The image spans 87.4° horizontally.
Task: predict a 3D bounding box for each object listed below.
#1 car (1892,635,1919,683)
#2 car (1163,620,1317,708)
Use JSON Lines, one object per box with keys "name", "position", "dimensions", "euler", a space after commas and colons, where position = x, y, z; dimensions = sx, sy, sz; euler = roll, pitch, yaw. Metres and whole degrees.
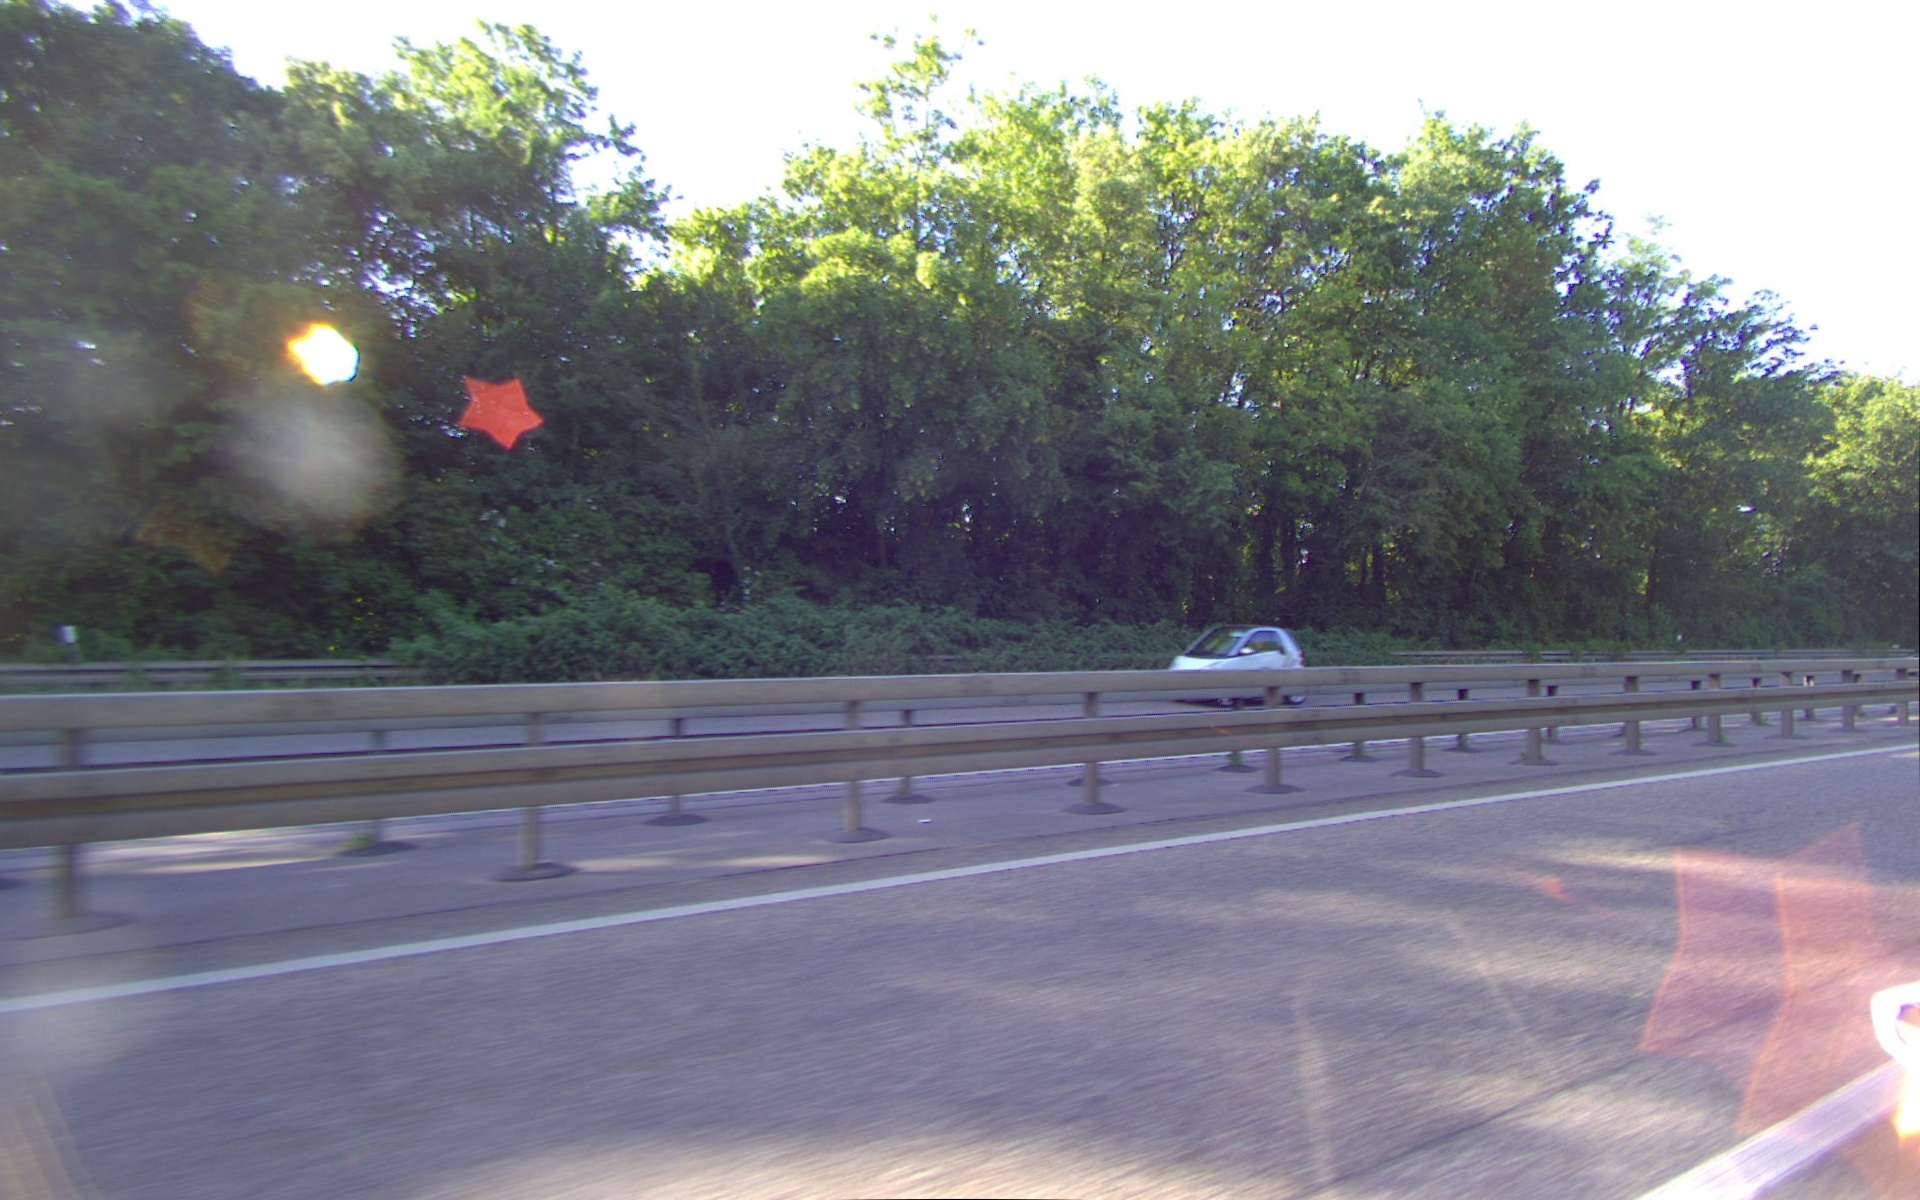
{"name": "car", "position": [37.201, 2.192, 37.737], "dimensions": [4.497, 1.773, 1.985], "euler": [1, -3, -30]}
{"name": "car", "position": [5.615, 1.241, 20.098], "dimensions": [2.841, 1.641, 1.407], "euler": [1, -1, -30]}
